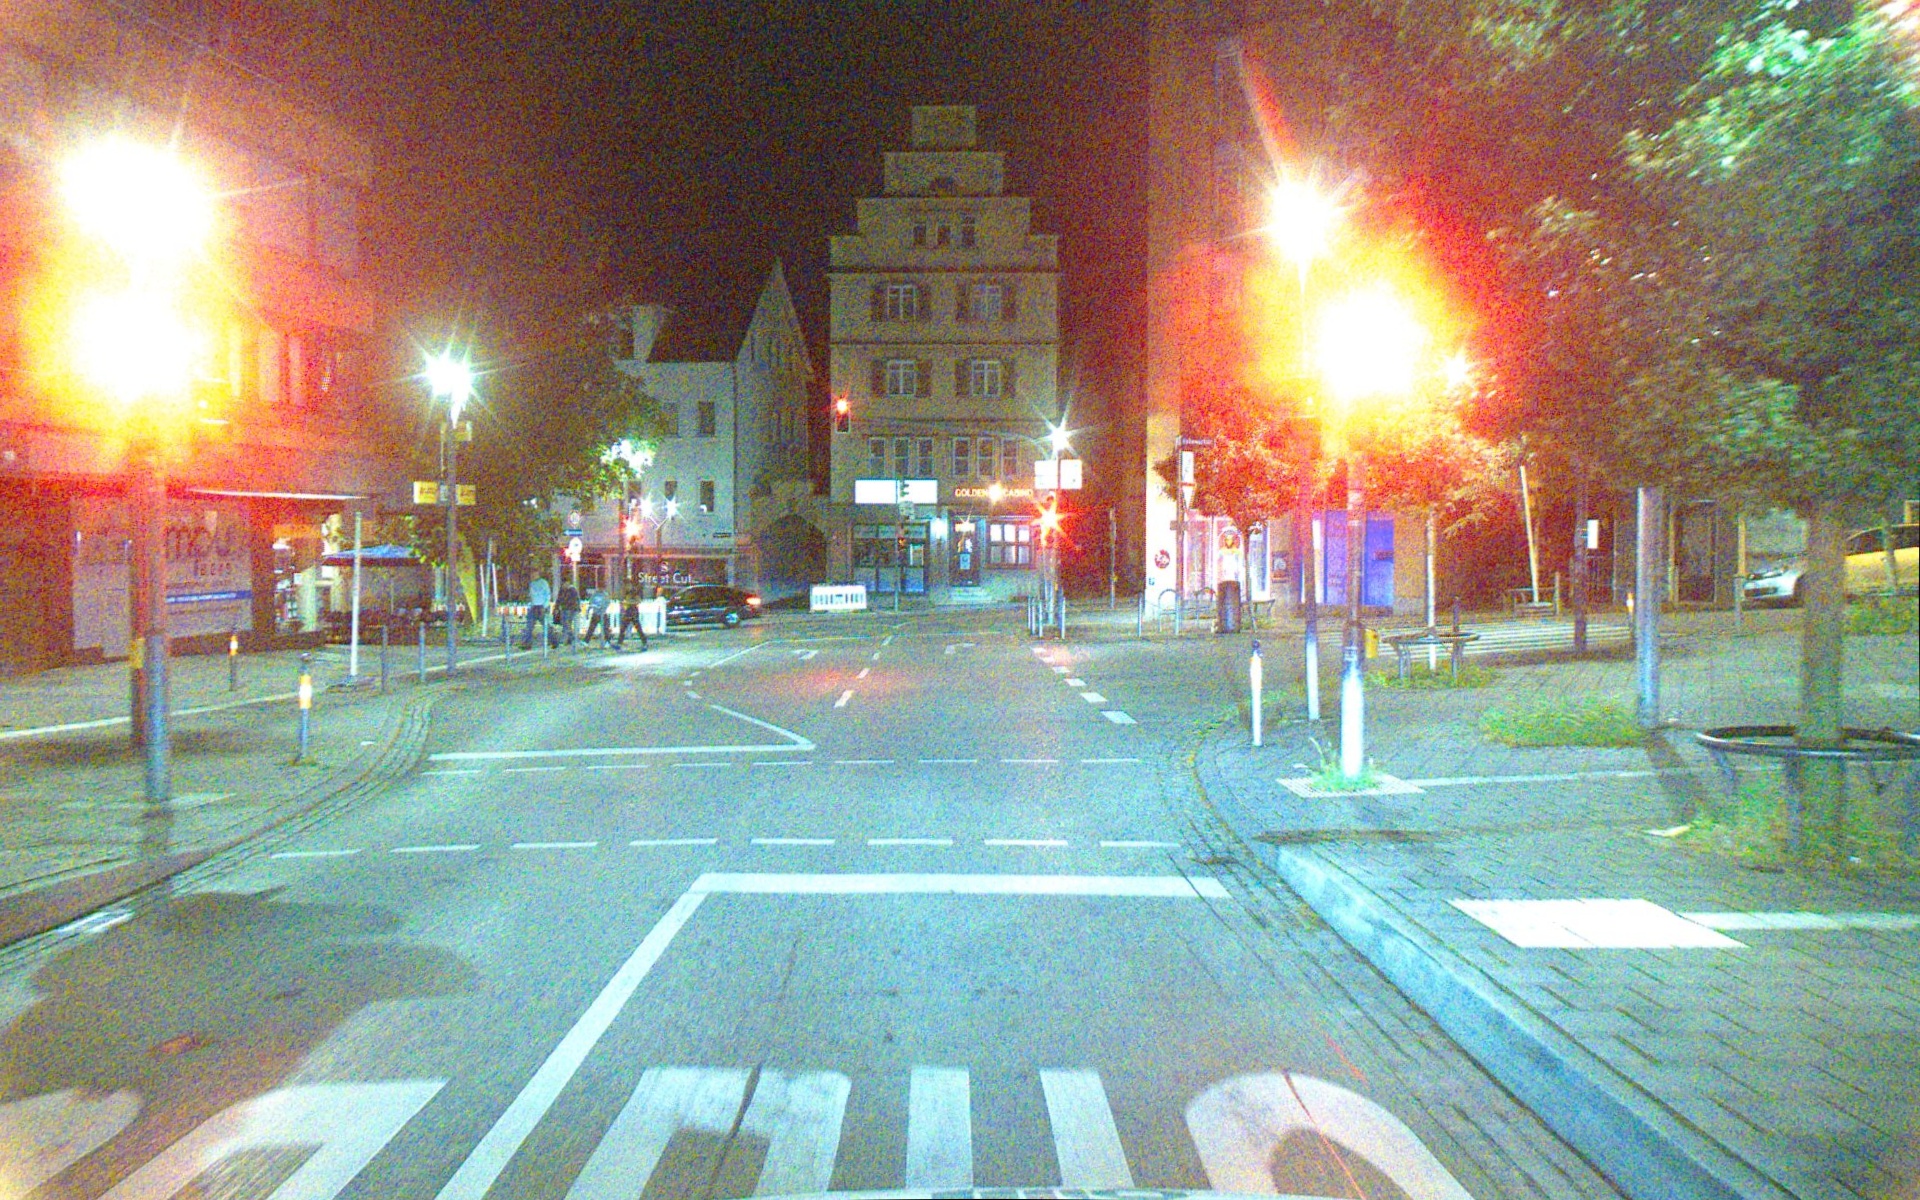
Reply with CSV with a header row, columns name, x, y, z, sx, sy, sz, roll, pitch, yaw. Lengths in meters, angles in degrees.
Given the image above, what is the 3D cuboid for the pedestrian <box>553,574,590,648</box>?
name,x,y,z,sx,sy,sz,roll,pitch,yaw
pedestrian,-9.645,0.271,41.045,0.700,1.827,0.570,1,-1,6

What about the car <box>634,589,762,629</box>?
name,x,y,z,sx,sy,sz,roll,pitch,yaw
car,-9.191,0.331,58.022,4.341,1.320,1.636,1,-1,-13

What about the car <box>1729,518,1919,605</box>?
name,x,y,z,sx,sy,sz,roll,pitch,yaw
car,17.162,-0.770,31.733,3.956,1.478,1.827,-3,1,6

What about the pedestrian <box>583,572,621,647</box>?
name,x,y,z,sx,sy,sz,roll,pitch,yaw
pedestrian,-8.724,0.237,40.306,0.703,1.827,0.568,0,-2,33

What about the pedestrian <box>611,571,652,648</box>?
name,x,y,z,sx,sy,sz,roll,pitch,yaw
pedestrian,-7.902,0.243,39.737,0.728,1.827,0.709,2,-2,-35

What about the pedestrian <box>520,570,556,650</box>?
name,x,y,z,sx,sy,sz,roll,pitch,yaw
pedestrian,-9.681,0.232,37.988,0.702,1.827,0.568,1,-1,-9

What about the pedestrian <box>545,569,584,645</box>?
name,x,y,z,sx,sy,sz,roll,pitch,yaw
pedestrian,-9.527,0.175,39.840,0.701,1.827,0.569,0,-1,22
